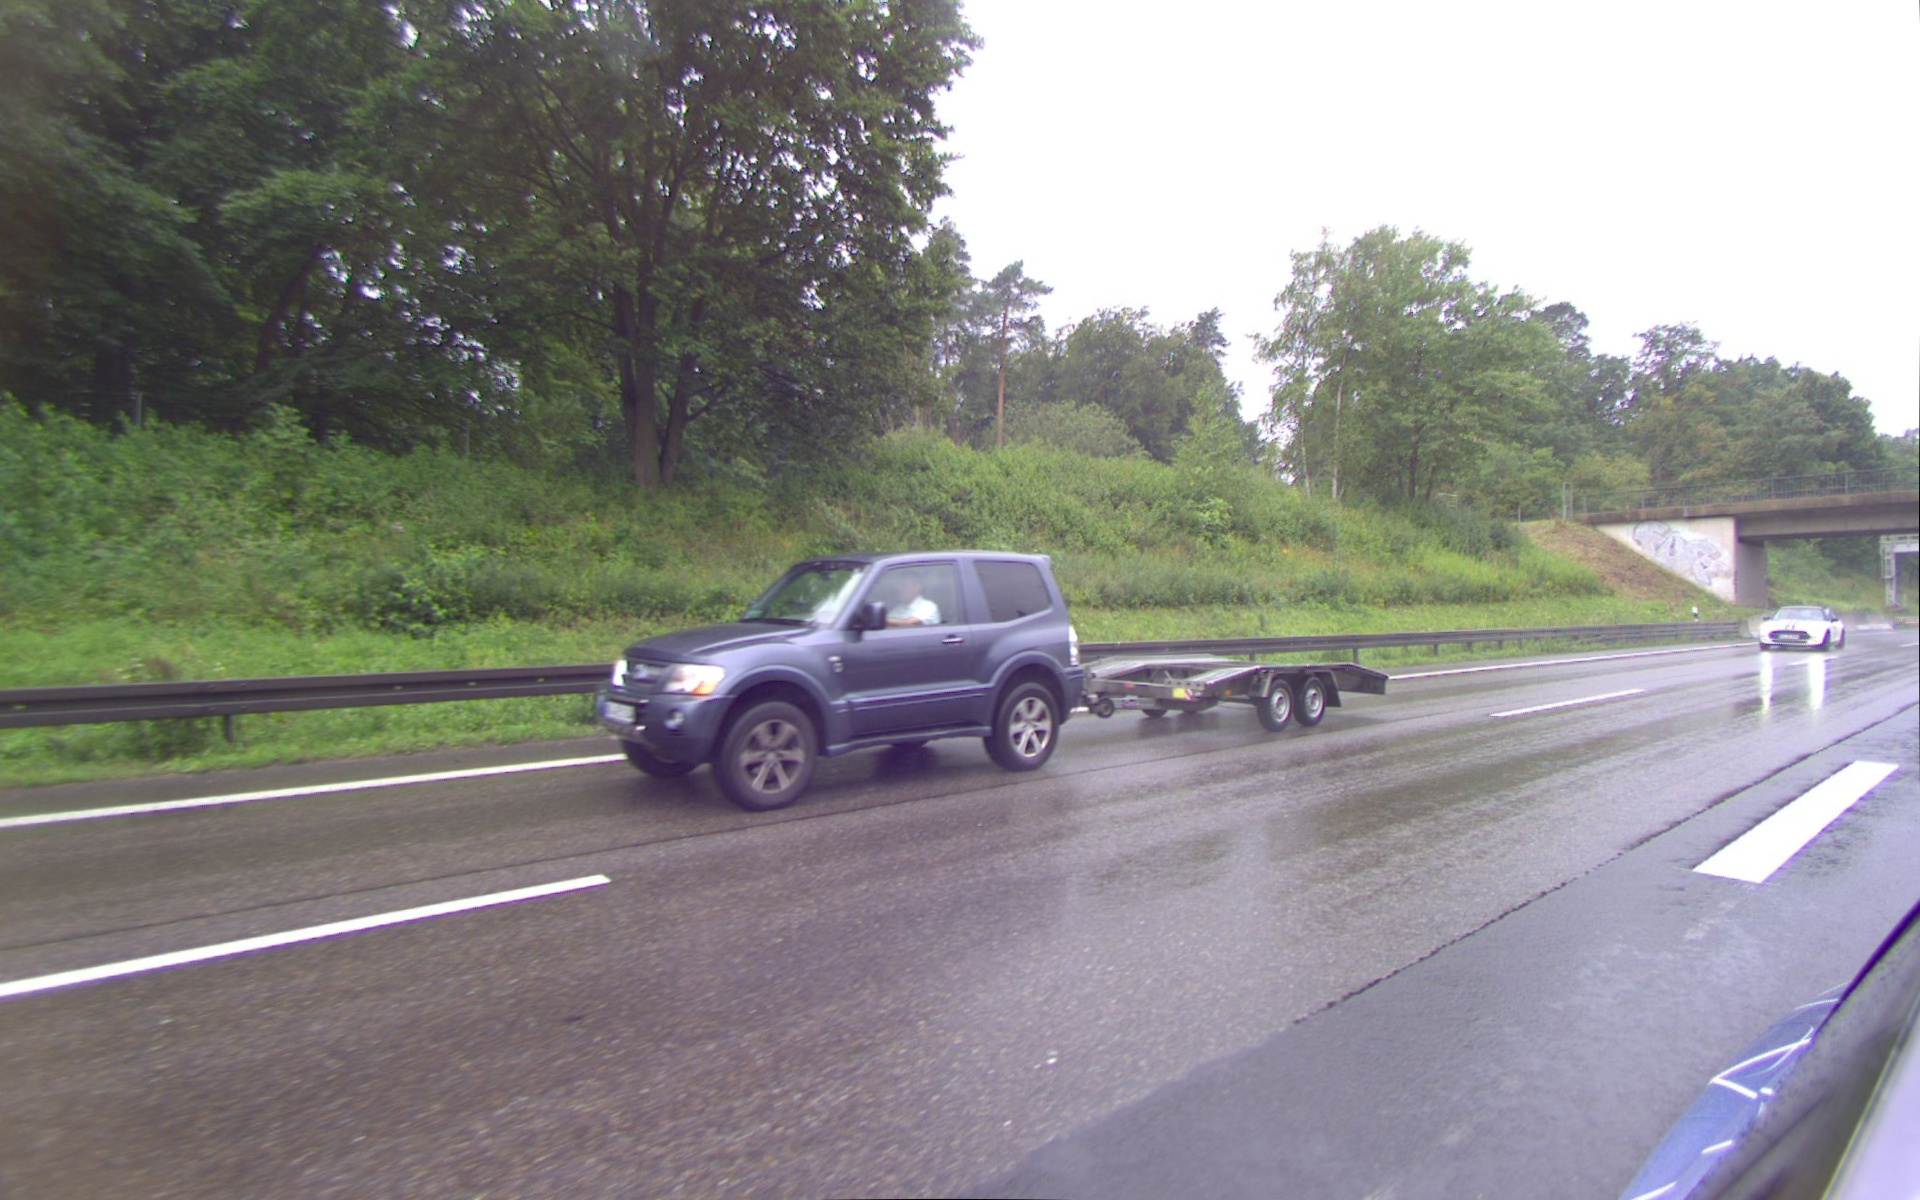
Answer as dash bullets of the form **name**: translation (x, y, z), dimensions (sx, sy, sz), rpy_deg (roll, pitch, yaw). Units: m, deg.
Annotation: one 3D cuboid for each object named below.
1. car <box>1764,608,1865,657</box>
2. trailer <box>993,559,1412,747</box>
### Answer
- **car**: translation (27.501, 1.007, 32.525), dimensions (4.152, 1.425, 1.794), rpy_deg (0, 0, -40)
- **trailer**: translation (2.987, 0.483, 11.832), dimensions (4.991, 1.736, 2.248), rpy_deg (0, 0, -40)
